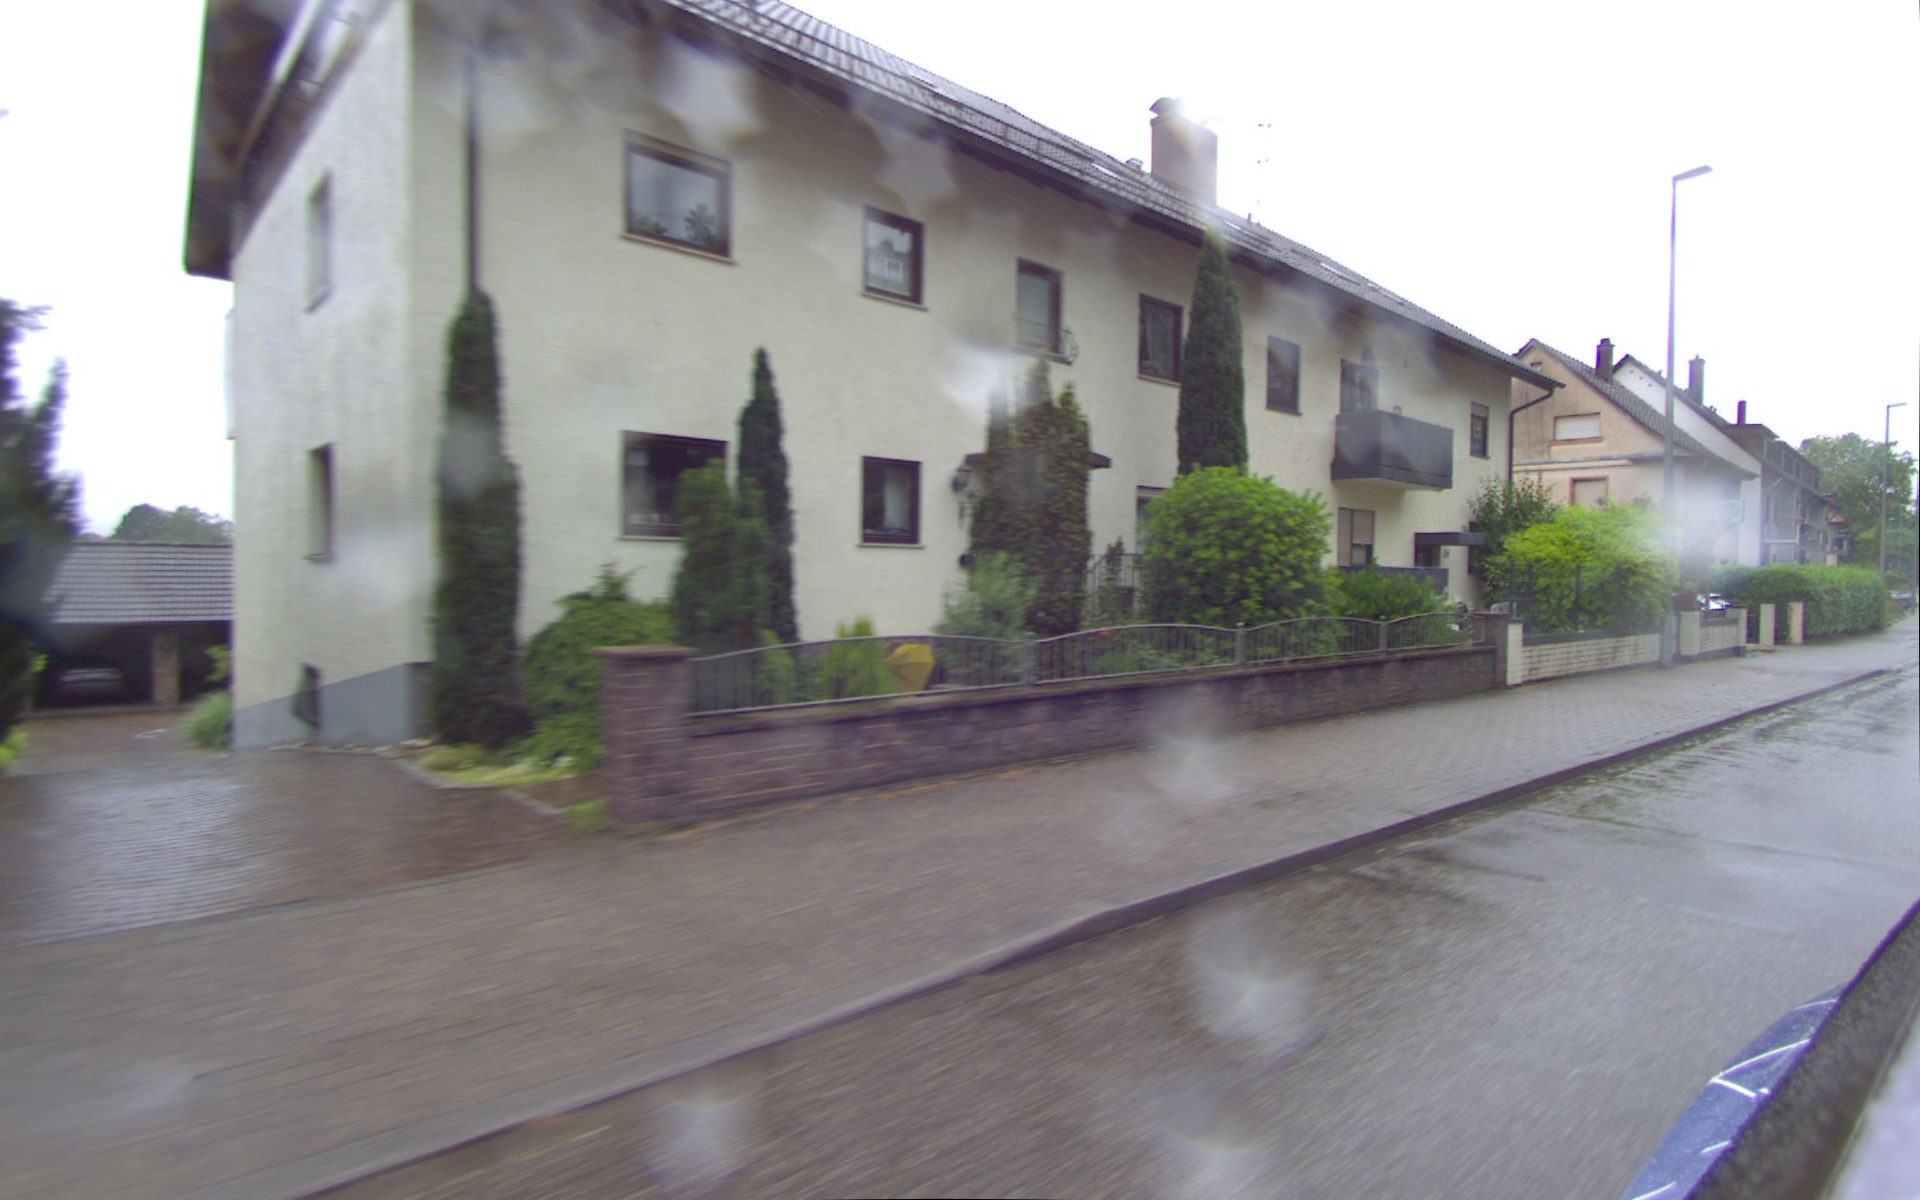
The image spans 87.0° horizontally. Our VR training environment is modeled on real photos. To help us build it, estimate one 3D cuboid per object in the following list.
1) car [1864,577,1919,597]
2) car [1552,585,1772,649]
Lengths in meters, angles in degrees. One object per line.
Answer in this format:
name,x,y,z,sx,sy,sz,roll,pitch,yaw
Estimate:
car,67.920,-0.956,72.498,1.879,1.381,4.392,-2,1,-13
car,17.353,0.423,25.172,1.674,1.464,4.225,0,-1,-43
